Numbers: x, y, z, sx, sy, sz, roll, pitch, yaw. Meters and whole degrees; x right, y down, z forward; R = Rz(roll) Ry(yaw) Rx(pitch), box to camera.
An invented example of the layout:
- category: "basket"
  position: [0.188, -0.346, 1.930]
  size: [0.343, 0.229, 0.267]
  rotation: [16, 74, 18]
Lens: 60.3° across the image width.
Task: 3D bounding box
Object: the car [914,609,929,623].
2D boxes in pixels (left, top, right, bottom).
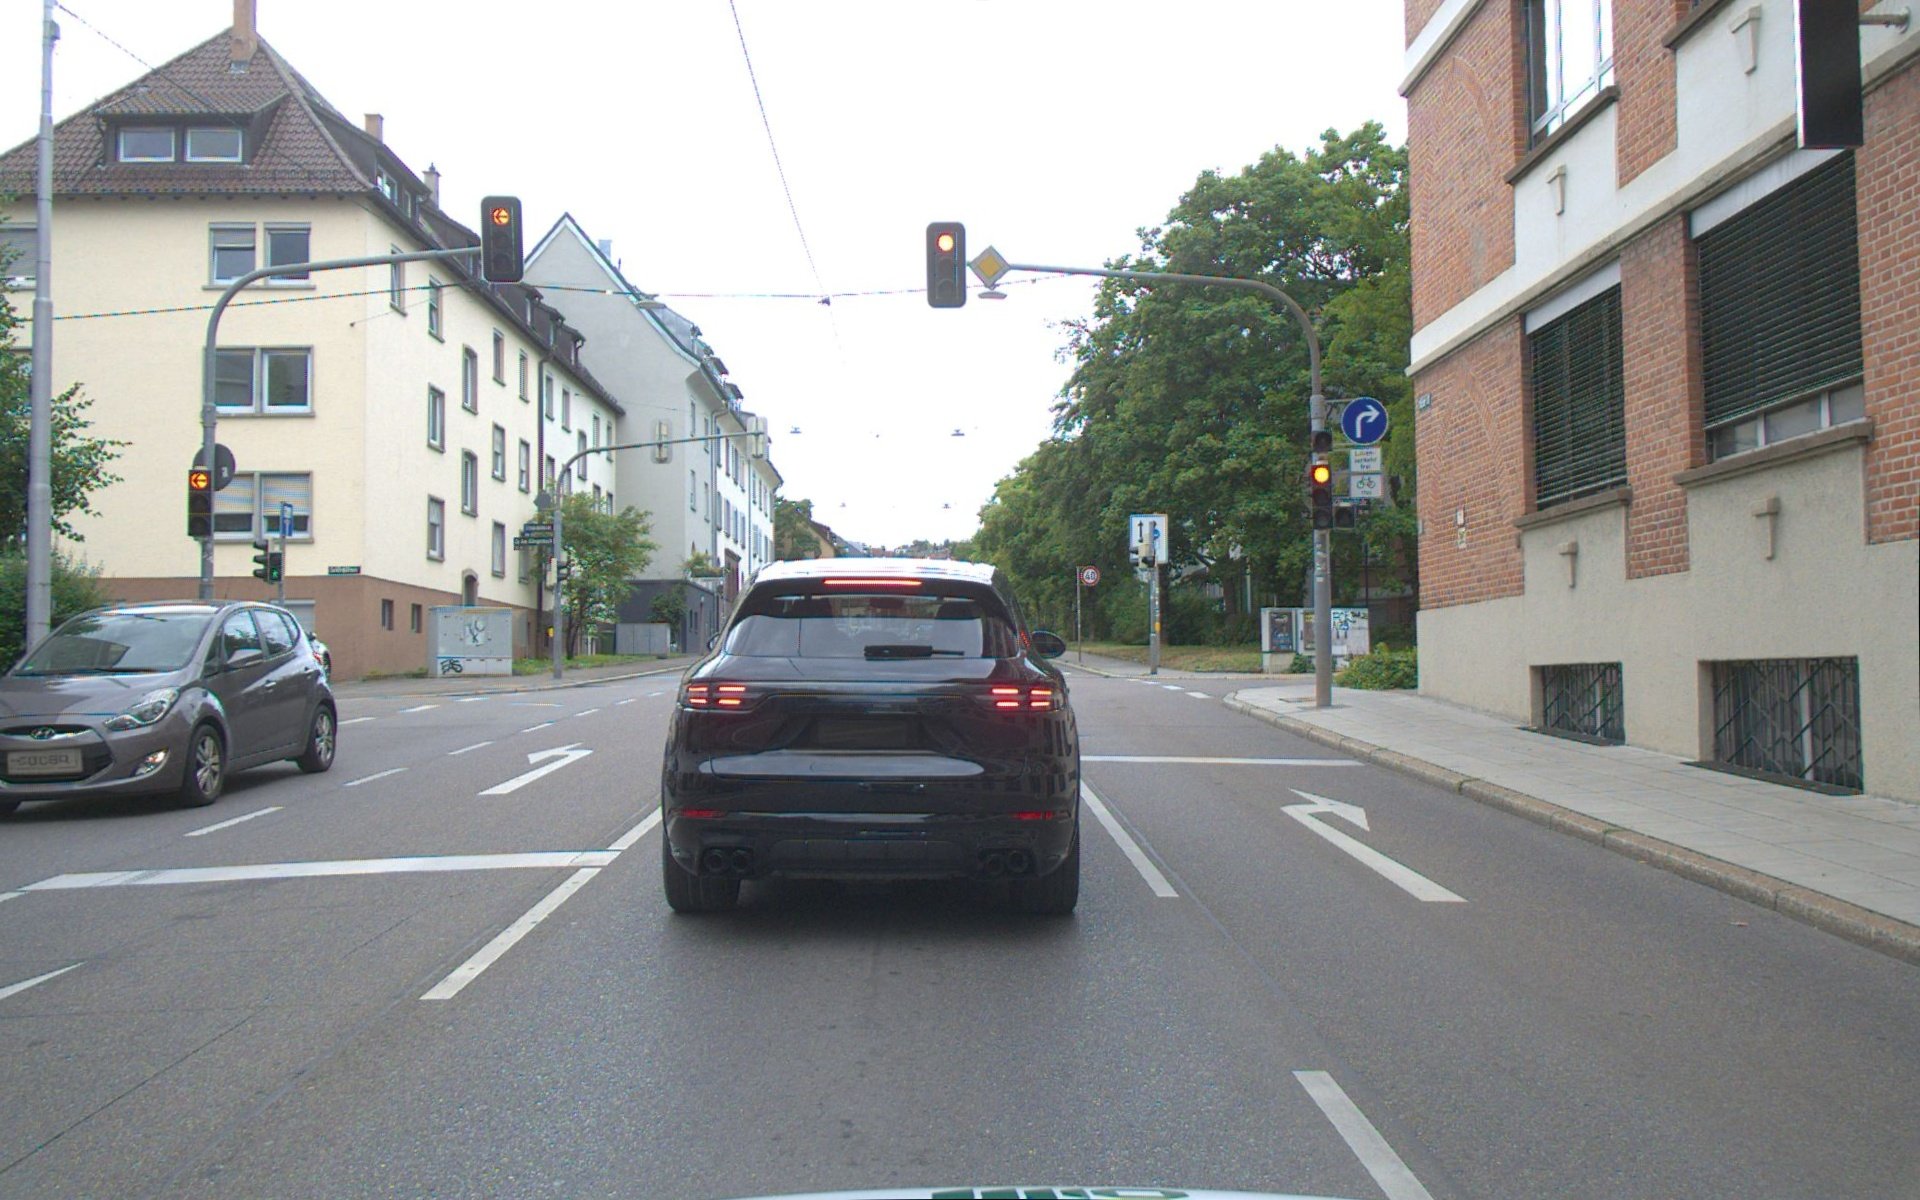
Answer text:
- category: "car"
  position: [-4.754, 2.023, 204.593]
  size: [1.790, 1.633, 4.134]
  rotation: [1, 0, -1]

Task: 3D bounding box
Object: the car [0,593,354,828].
- category: "car"
  position: [-6.603, 0.796, 13.857]
  size: [1.670, 1.614, 3.934]
  rotation: [-3, 0, -3]

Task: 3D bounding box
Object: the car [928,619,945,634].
- category: "car"
  position: [-2.628, 2.942, 184.152]
  size: [1.790, 1.633, 4.134]
  rotation: [1, 0, -1]

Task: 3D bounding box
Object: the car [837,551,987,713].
- category: "car"
  position: [-0.642, 0.408, 23.633]
  size: [1.925, 2.078, 4.134]
  rotation: [1, 0, -1]

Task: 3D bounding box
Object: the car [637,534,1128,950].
- category: "car"
  position: [-0.337, 0.578, 8.982]
  size: [2.007, 1.695, 4.266]
  rotation: [1, 0, -1]

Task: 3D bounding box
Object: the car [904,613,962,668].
- category: "car"
  position: [-0.868, 1.296, 54.259]
  size: [1.790, 1.633, 3.858]
  rotation: [1, 0, -1]

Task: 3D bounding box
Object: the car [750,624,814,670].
- category: "car"
  position: [-6.235, 1.631, 58.408]
  size: [1.749, 1.443, 4.669]
  rotation: [-2, 0, -1]

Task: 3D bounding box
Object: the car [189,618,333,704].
- category: "car"
  position: [-14.776, 1.239, 35.157]
  size: [1.658, 1.582, 3.762]
  rotation: [-3, 1, -5]

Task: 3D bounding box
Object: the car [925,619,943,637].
- category: "car"
  position: [-2.521, 2.688, 161.520]
  size: [1.790, 1.633, 4.134]
  rotation: [1, 0, -1]

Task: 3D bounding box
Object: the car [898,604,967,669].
- category: "car"
  position: [-0.738, 0.962, 45.549]
  size: [1.790, 1.633, 4.134]
  rotation: [1, 0, -1]

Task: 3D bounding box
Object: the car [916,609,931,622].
- category: "car"
  position: [-4.683, 1.957, 211.920]
  size: [1.790, 1.633, 4.134]
  rotation: [1, 0, -1]
